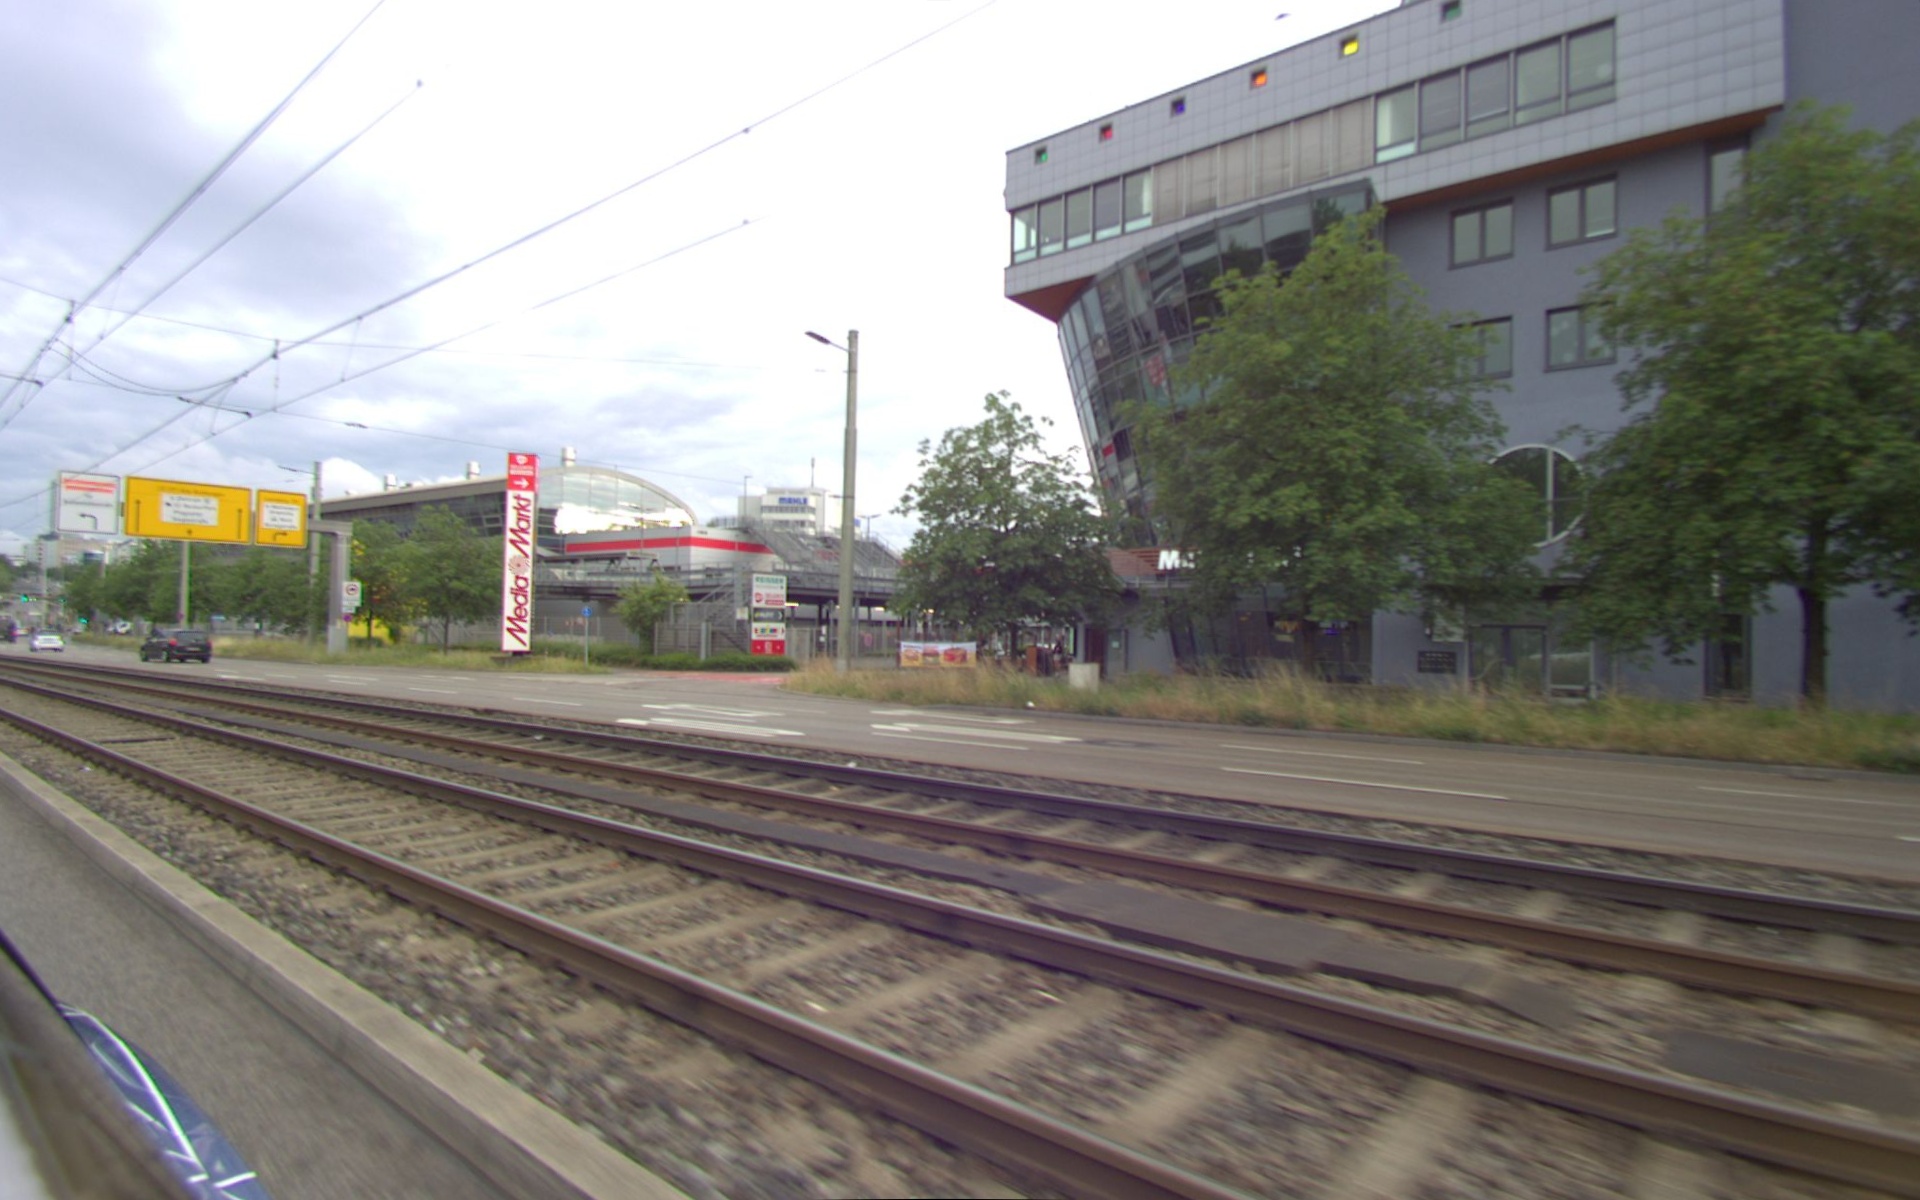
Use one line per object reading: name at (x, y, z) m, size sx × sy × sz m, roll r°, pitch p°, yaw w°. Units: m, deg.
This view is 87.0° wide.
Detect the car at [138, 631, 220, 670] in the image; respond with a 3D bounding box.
car at (-37.330, 2.439, 48.349) m, size 4.205 × 1.749 × 1.975 m, roll -2°, pitch -6°, yaw 37°

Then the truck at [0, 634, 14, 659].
truck at (-104.223, 5.025, 109.574) m, size 7.017 × 2.584 × 2.213 m, roll -2°, pitch -3°, yaw 45°

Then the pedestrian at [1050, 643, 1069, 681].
pedestrian at (4.418, 2.754, 45.049) m, size 0.579 × 1.692 × 0.801 m, roll -1°, pitch -3°, yaw 29°

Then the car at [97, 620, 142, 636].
car at (-131.568, 4.371, 158.401) m, size 1.987 × 2.350 × 5.024 m, roll -1°, pitch -3°, yaw 23°

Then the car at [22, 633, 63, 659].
car at (-62.238, 3.096, 68.628) m, size 2.949 × 1.548 × 1.581 m, roll 2°, pitch -3°, yaw 41°

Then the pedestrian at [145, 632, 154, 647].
pedestrian at (-91.255, 4.451, 113.930) m, size 0.626 × 1.575 × 0.675 m, roll -1°, pitch 0°, yaw 40°
